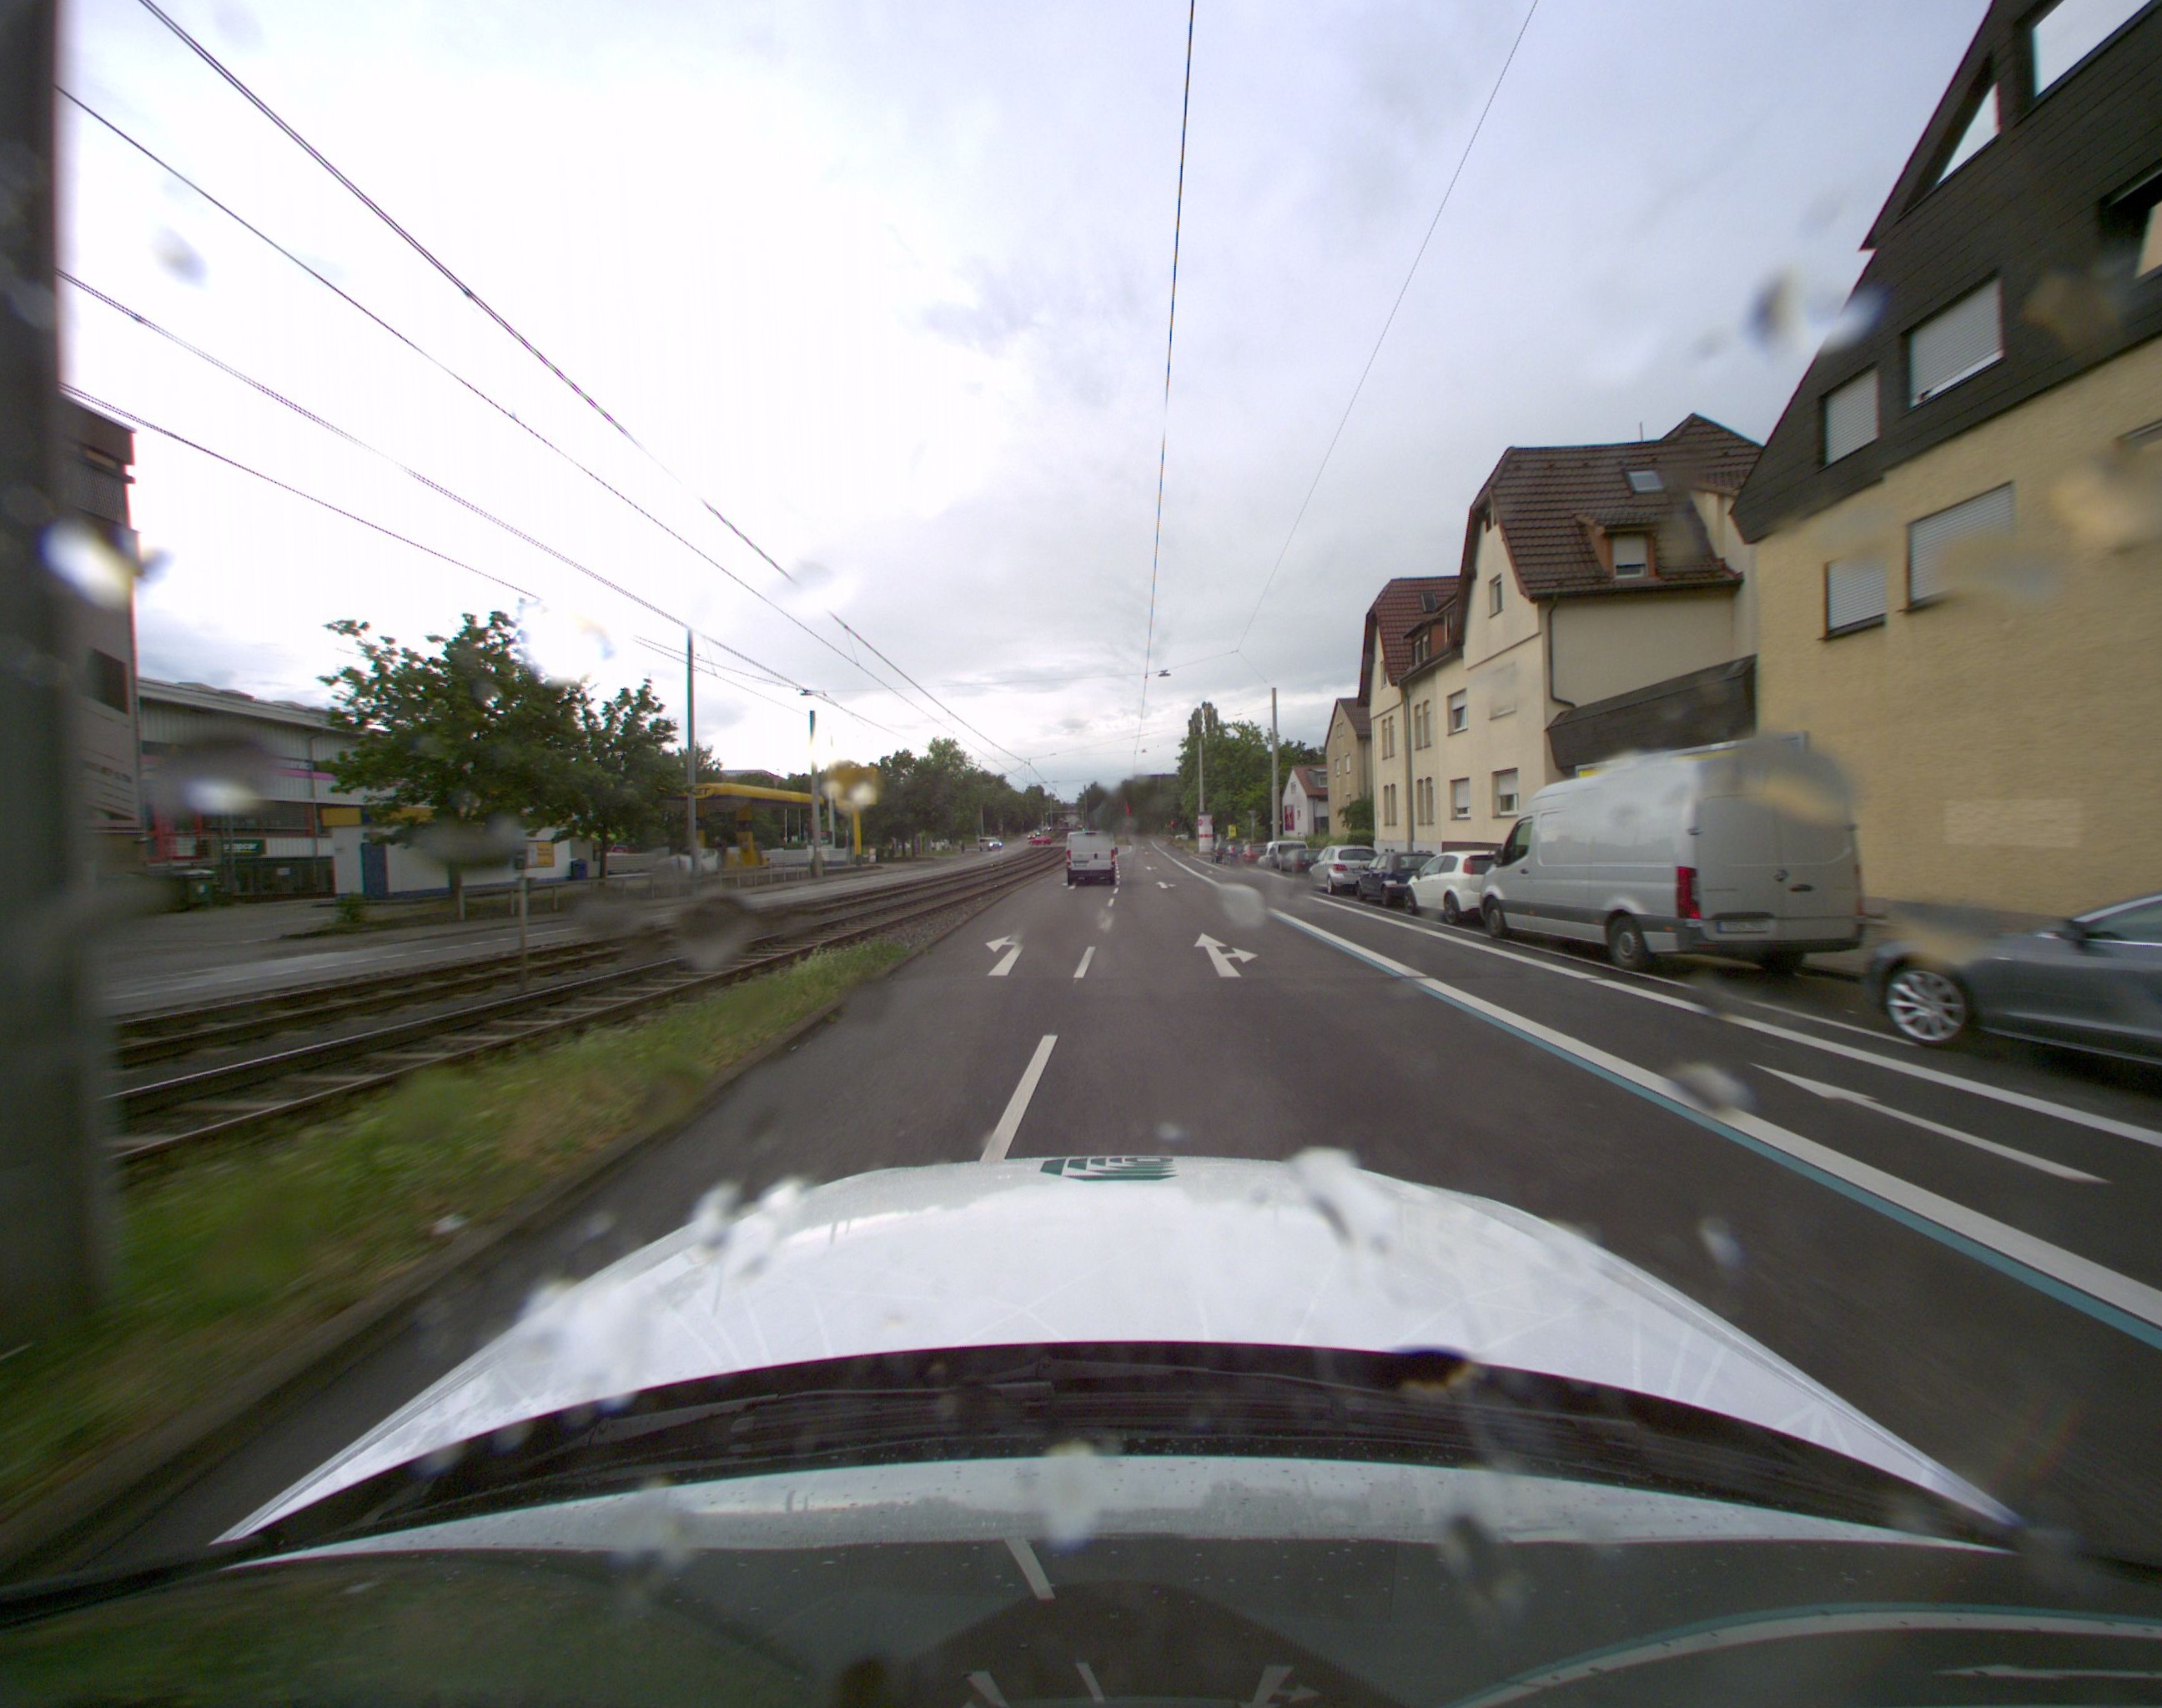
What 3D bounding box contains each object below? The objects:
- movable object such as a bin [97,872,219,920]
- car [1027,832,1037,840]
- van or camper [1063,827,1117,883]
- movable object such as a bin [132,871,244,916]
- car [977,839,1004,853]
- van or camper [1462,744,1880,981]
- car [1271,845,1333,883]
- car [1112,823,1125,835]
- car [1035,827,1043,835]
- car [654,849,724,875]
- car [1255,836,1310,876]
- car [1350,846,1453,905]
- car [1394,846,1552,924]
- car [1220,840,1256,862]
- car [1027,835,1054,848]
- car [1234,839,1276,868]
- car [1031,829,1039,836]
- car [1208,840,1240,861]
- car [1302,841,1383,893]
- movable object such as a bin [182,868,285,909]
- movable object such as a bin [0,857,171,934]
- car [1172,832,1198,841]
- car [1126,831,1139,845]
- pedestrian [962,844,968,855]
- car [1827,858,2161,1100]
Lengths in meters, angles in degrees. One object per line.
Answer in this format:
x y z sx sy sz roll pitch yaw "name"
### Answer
-29.439 1.319 26.031 1.992 1.375 1.565 0 1 -8 "movable object such as a bin"
-10.406 -3.809 172.564 1.684 1.711 3.778 0 0 2 "car"
0.363 0.042 35.406 2.192 2.252 4.683 0 0 0 "van or camper"
-30.185 1.320 27.583 1.992 1.375 1.565 0 1 -8 "movable object such as a bin"
-13.762 -1.195 123.841 2.009 2.013 4.476 0 0 -38 "car"
7.787 0.031 11.842 1.985 2.563 6.049 0 1 3 "van or camper"
8.973 0.348 33.305 1.639 1.445 3.958 0 1 3 "car"
6.376 -4.271 139.483 1.987 2.013 3.999 0 0 0 "car"
-12.021 -6.627 234.922 1.986 2.013 4.002 0 0 2 "car"
-22.455 0.433 46.818 1.986 1.442 4.001 0 0 1 "car"
9.524 0.044 38.748 1.740 1.807 3.957 0 1 2 "car"
8.660 0.522 22.308 1.618 1.448 3.712 0 1 4 "car"
8.269 0.578 17.597 1.701 1.446 4.045 0 1 3 "car"
10.804 -0.203 56.275 1.840 1.499 3.956 0 0 2 "car"
-6.833 -2.069 136.975 4.471 2.013 2.012 0 0 43 "car"
10.333 -0.076 48.599 1.840 1.645 3.957 0 1 2 "car"
-10.959 -5.031 194.366 1.684 1.574 3.778 0 0 2 "car"
10.883 -0.263 62.211 1.840 1.499 3.956 0 0 2 "car"
8.778 0.374 27.628 1.639 1.615 4.108 0 1 3 "car"
-30.411 1.216 29.281 1.992 1.375 1.565 0 1 -8 "movable object such as a bin"
-28.980 1.107 23.336 1.992 1.919 3.562 0 1 -8 "movable object such as a bin"
17.703 -2.950 138.431 4.137 1.476 1.674 -2 1 17 "car"
7.646 -2.341 121.264 1.985 2.013 4.003 0 0 3 "car"
-15.240 -0.575 107.008 0.612 1.475 0.641 -2 0 -10 "pedestrian"
7.312 0.759 4.747 1.782 1.406 4.552 0 1 0 "car"
